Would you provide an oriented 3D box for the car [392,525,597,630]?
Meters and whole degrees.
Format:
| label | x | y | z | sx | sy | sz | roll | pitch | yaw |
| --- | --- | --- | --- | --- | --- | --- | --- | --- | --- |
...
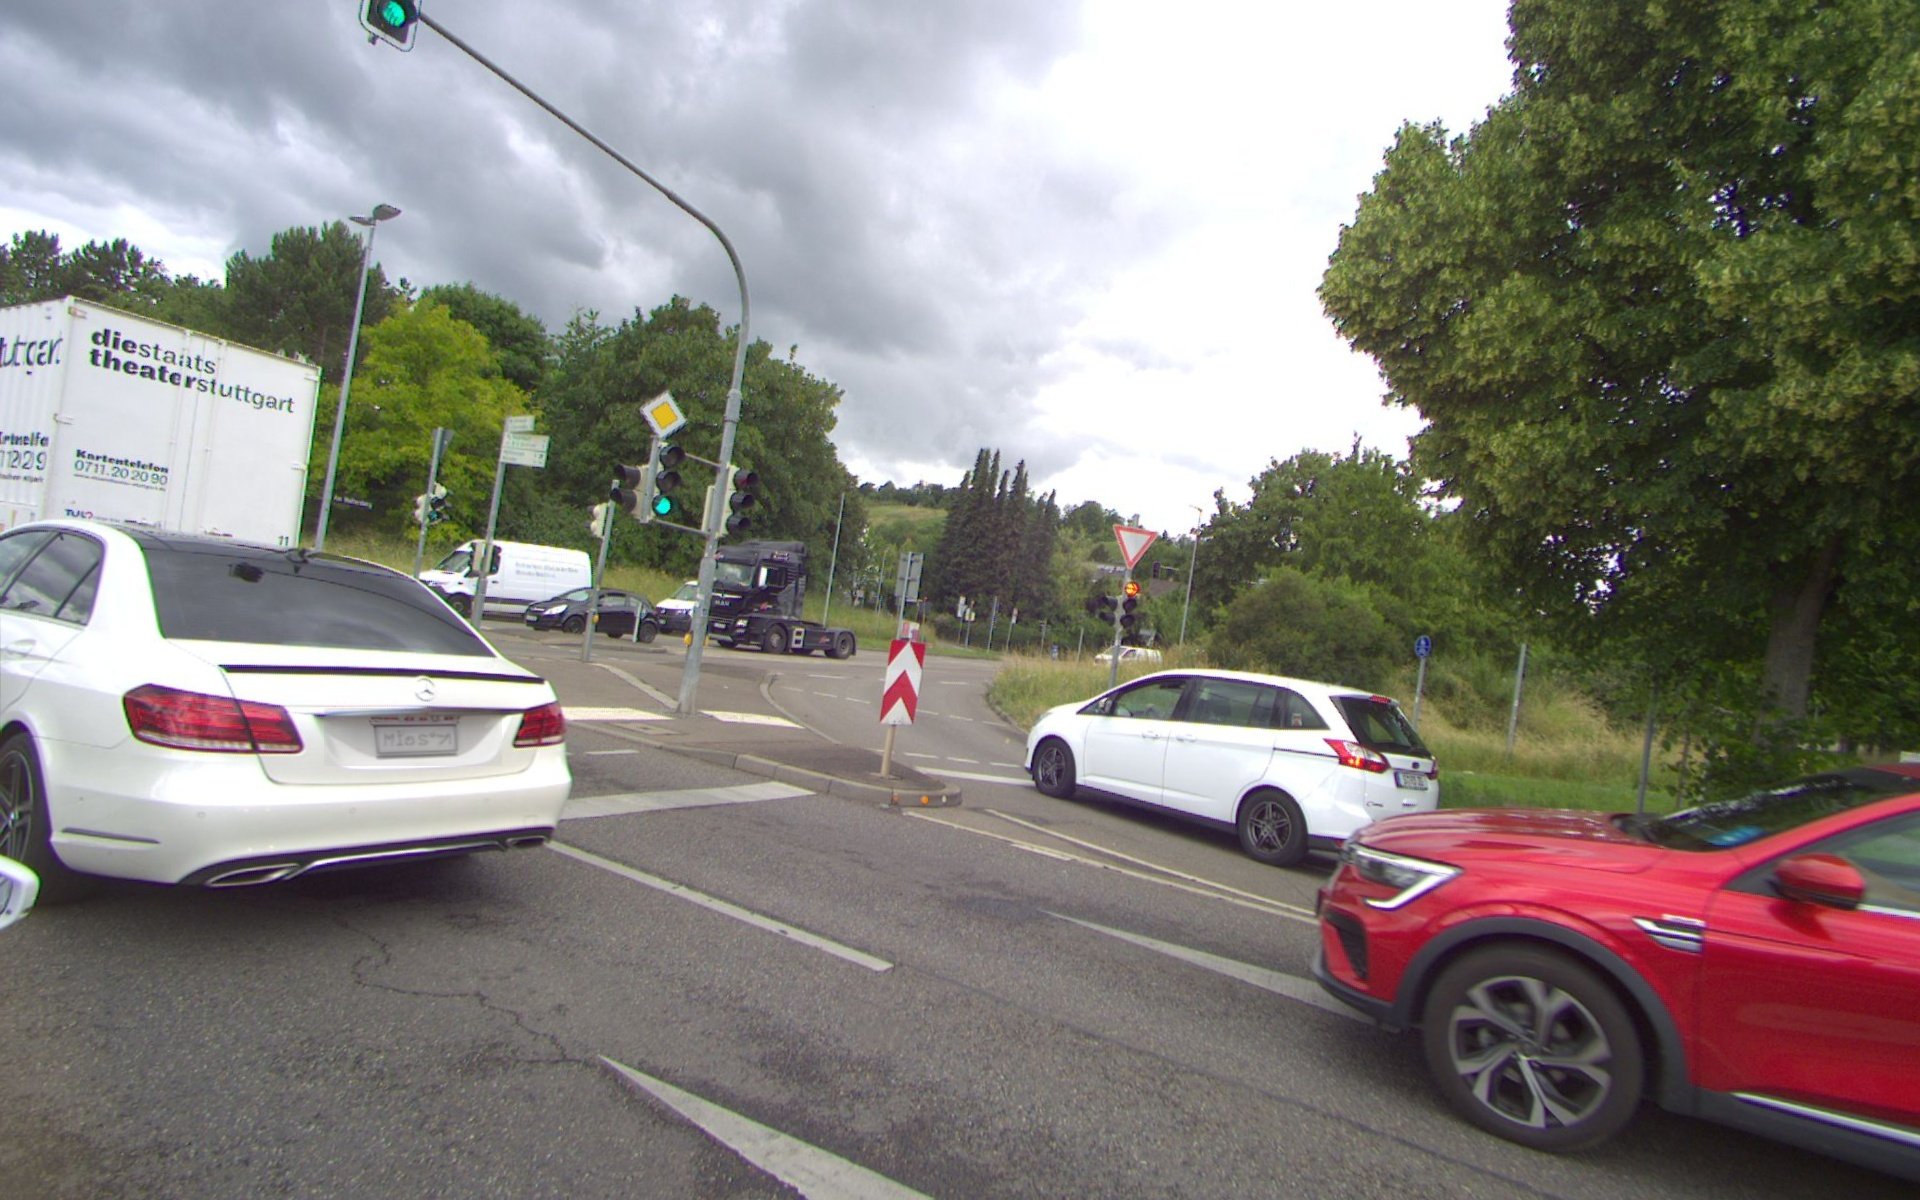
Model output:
| label | x | y | z | sx | sy | sz | roll | pitch | yaw |
| --- | --- | --- | --- | --- | --- | --- | --- | --- | --- |
| car | -15.338 | -0.668 | 33.565 | 1.968 | 2.660 | 5.814 | 6 | -2 | 34 |

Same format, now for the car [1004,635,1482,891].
| label | x | y | z | sx | sy | sz | roll | pitch | yaw |
| --- | --- | --- | --- | --- | --- | --- | --- | --- | --- |
| car | 2.597 | 1.477 | 10.218 | 1.752 | 1.673 | 4.325 | 10 | -3 | -37 |

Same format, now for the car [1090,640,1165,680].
| label | x | y | z | sx | sy | sz | roll | pitch | yaw |
| --- | --- | --- | --- | --- | --- | --- | --- | --- | --- |
| car | 10.711 | 3.849 | 63.993 | 4.932 | 1.927 | 1.976 | 9 | -3 | -43 |

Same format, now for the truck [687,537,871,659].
| label | x | y | z | sx | sy | sz | roll | pitch | yaw |
| --- | --- | --- | --- | --- | --- | --- | --- | --- | --- |
| truck | -6.199 | 0.041 | 35.384 | 2.648 | 3.527 | 6.004 | 6 | -1 | 34 |

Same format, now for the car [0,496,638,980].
| label | x | y | z | sx | sy | sz | roll | pitch | yaw |
| --- | --- | --- | --- | --- | --- | --- | --- | --- | --- |
| car | -3.809 | 0.349 | 4.973 | 4.246 | 1.428 | 1.803 | 6 | -2 | 32 |

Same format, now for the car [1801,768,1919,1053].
| label | x | y | z | sx | sy | sz | roll | pitch | yaw |
| --- | --- | --- | --- | --- | --- | --- | --- | --- | --- |
| car | 7.093 | 2.030 | 5.598 | 3.511 | 1.524 | 1.603 | 6 | -2 | 38 |

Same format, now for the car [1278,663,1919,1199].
| label | x | y | z | sx | sy | sz | roll | pitch | yaw |
| --- | --- | --- | --- | --- | --- | --- | --- | --- | --- |
| car | 3.623 | 1.332 | 3.581 | 4.304 | 1.548 | 1.851 | 7 | -2 | 32 |

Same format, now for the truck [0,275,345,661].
| label | x | y | z | sx | sy | sz | roll | pitch | yaw |
| --- | --- | --- | --- | --- | --- | --- | --- | --- | --- |
| truck | -13.144 | -1.849 | 14.357 | 10.011 | 3.949 | 2.808 | 7 | -1 | 31 |

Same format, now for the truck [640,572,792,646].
| label | x | y | z | sx | sy | sz | roll | pitch | yaw |
| --- | --- | --- | --- | --- | --- | --- | --- | --- | --- |
| truck | -9.932 | 0.438 | 41.535 | 2.128 | 2.255 | 6.028 | 6 | -2 | 35 |

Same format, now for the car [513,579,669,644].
| label | x | y | z | sx | sy | sz | roll | pitch | yaw |
| --- | --- | --- | --- | --- | --- | --- | --- | --- | --- |
| car | -10.521 | 0.377 | 28.954 | 1.669 | 1.353 | 3.882 | 6 | -3 | 34 |
